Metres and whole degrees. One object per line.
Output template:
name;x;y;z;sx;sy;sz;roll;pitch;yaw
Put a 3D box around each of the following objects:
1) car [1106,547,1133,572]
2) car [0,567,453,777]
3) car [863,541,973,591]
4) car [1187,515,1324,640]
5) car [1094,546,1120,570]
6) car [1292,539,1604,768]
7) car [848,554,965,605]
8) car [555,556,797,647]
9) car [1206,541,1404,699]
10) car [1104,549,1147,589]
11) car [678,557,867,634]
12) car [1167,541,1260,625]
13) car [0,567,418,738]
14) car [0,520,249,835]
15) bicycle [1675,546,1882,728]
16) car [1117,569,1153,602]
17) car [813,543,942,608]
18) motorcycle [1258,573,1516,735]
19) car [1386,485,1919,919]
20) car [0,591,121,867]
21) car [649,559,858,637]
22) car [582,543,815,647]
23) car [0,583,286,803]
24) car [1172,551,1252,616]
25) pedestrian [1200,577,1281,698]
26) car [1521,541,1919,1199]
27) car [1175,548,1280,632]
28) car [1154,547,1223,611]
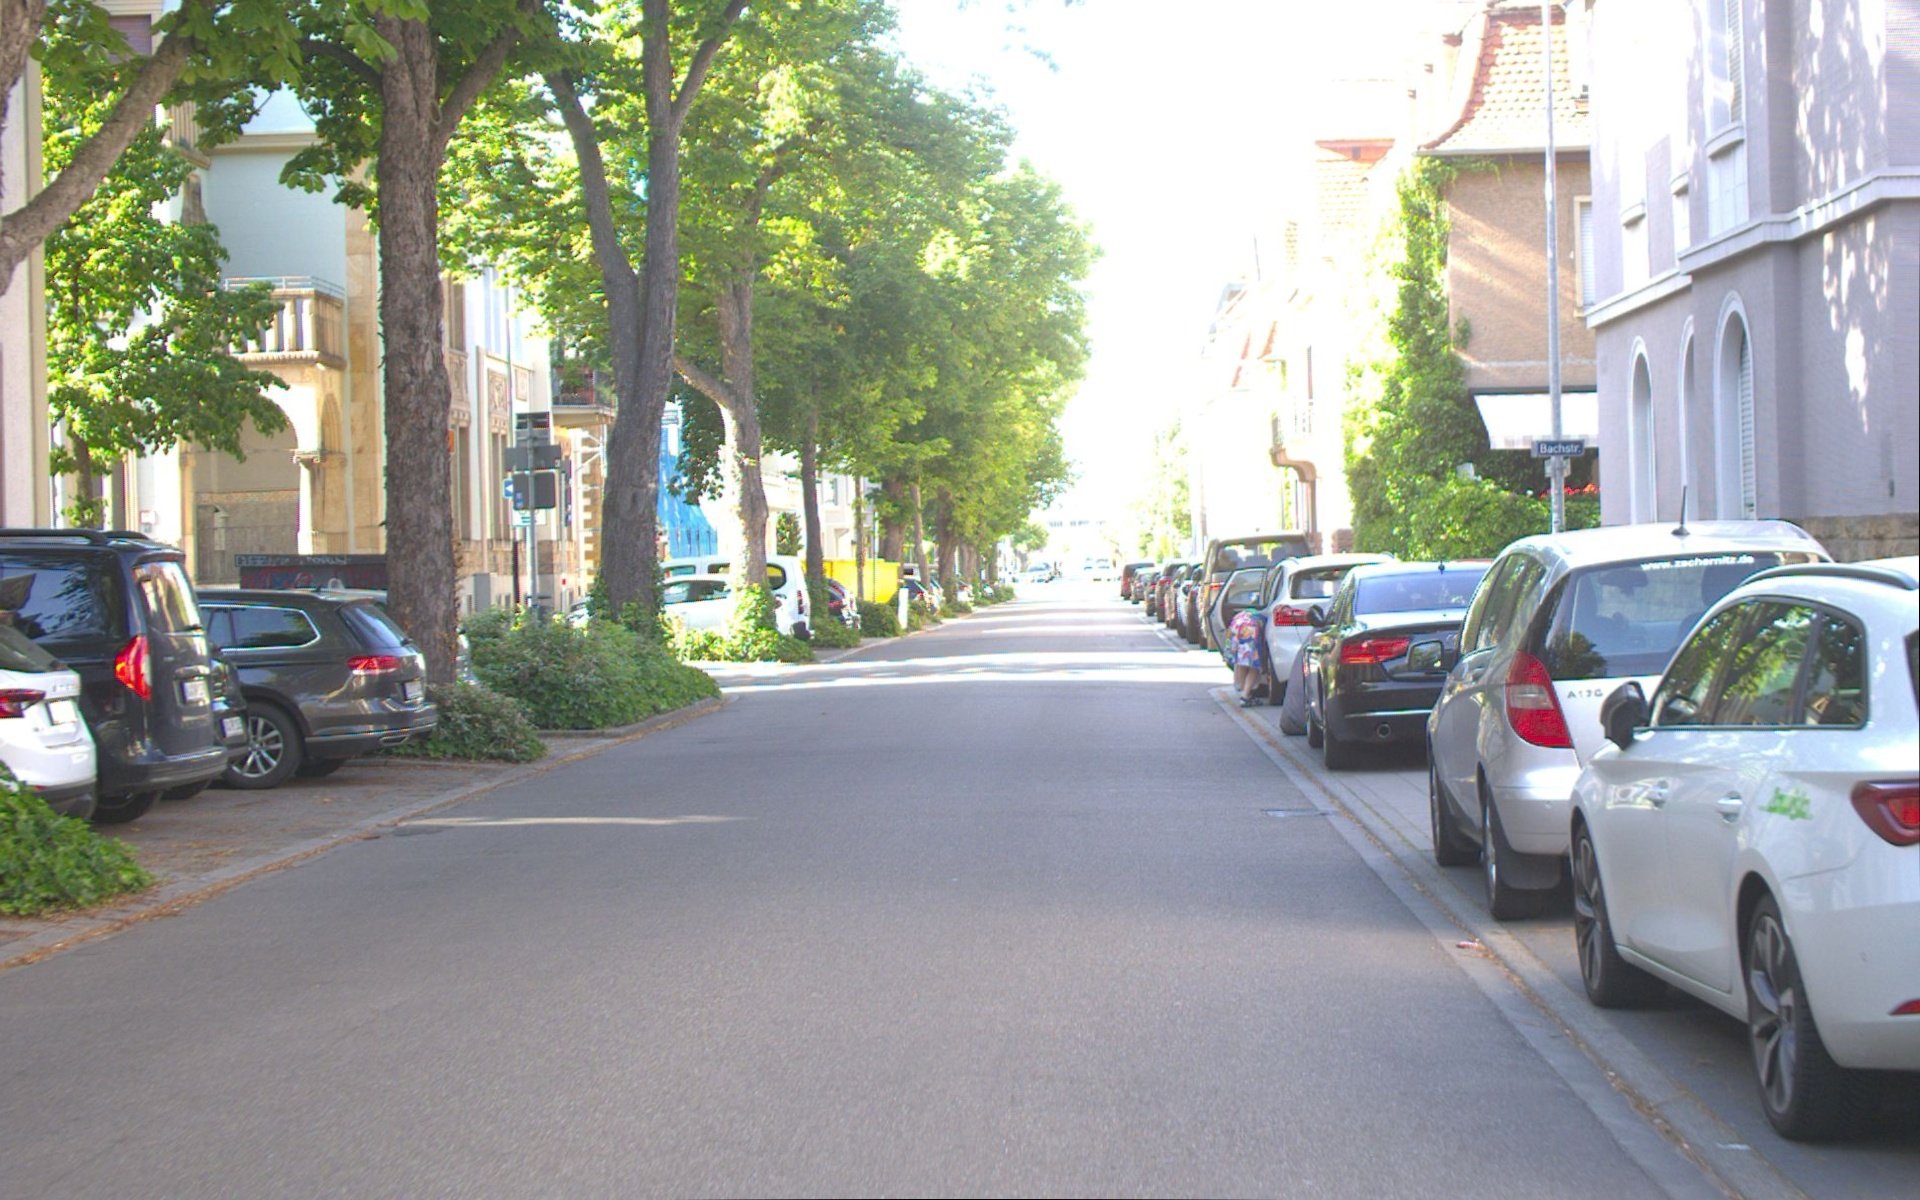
car;11.062;-2.807;237.986;1.771;1.625;3.866;-1;1;3
car;-6.272;0.533;26.071;4.532;1.498;1.892;-1;0;1
car;-1.597;-1.317;132.092;4.007;1.835;2.000;1;2;5
car;4.866;-0.397;57.080;1.904;1.864;4.673;-4;1;2
car;10.514;-3.006;245.466;1.771;1.625;3.866;-1;1;3
car;3.578;0.338;25.938;1.854;1.488;4.607;-3;1;3
car;-1.902;-0.756;123.492;4.007;1.729;1.894;1;2;5
car;-4.809;0.030;58.570;3.986;1.459;1.798;1;0;-1
car;3.729;0.184;37.784;1.699;1.534;4.155;-4;1;0
car;7.071;-1.333;146.389;1.771;1.625;3.866;-1;1;3
car;-4.085;-0.110;74.630;3.986;1.546;1.838;-2;1;-6
car;5.099;-0.356;69.529;1.789;1.612;3.866;-1;1;3
car;-6.966;0.468;31.542;3.674;1.482;1.641;-1;0;2
car;-6.598;0.472;21.281;3.979;1.849;1.829;-1;0;1
bicycle;6.396;0.261;27.009;1.082;1.333;2.250;-2;1;1
car;8.916;-0.756;174.870;1.771;1.625;3.866;-1;1;3
car;-2.680;-0.796;111.416;3.986;2.007;2.000;-1;0;-6
motorcycle;3.736;0.461;30.178;2.193;1.334;0.921;1;2;6
car;3.021;0.381;15.541;1.789;1.595;4.000;-4;0;3
car;-6.816;0.705;18.900;3.986;1.443;1.742;-1;0;-2
car;-4.155;-0.048;69.569;3.987;1.464;1.863;-1;1;4
car;-4.600;-0.096;60.865;3.986;1.755;1.798;1;0;-1
car;-6.822;0.630;23.683;3.979;1.432;1.829;-1;0;0
car;5.892;-0.412;80.736;1.771;1.450;3.866;-1;1;3
pedestrian;3.018;0.397;36.991;0.723;1.253;0.646;-2;1;-5
car;2.828;0.570;9.716;1.679;1.452;4.439;-2;1;0
car;4.961;-0.211;64.064;1.691;1.394;3.805;-4;1;2
car;6.084;-0.579;91.992;1.771;1.625;3.866;-1;1;3
